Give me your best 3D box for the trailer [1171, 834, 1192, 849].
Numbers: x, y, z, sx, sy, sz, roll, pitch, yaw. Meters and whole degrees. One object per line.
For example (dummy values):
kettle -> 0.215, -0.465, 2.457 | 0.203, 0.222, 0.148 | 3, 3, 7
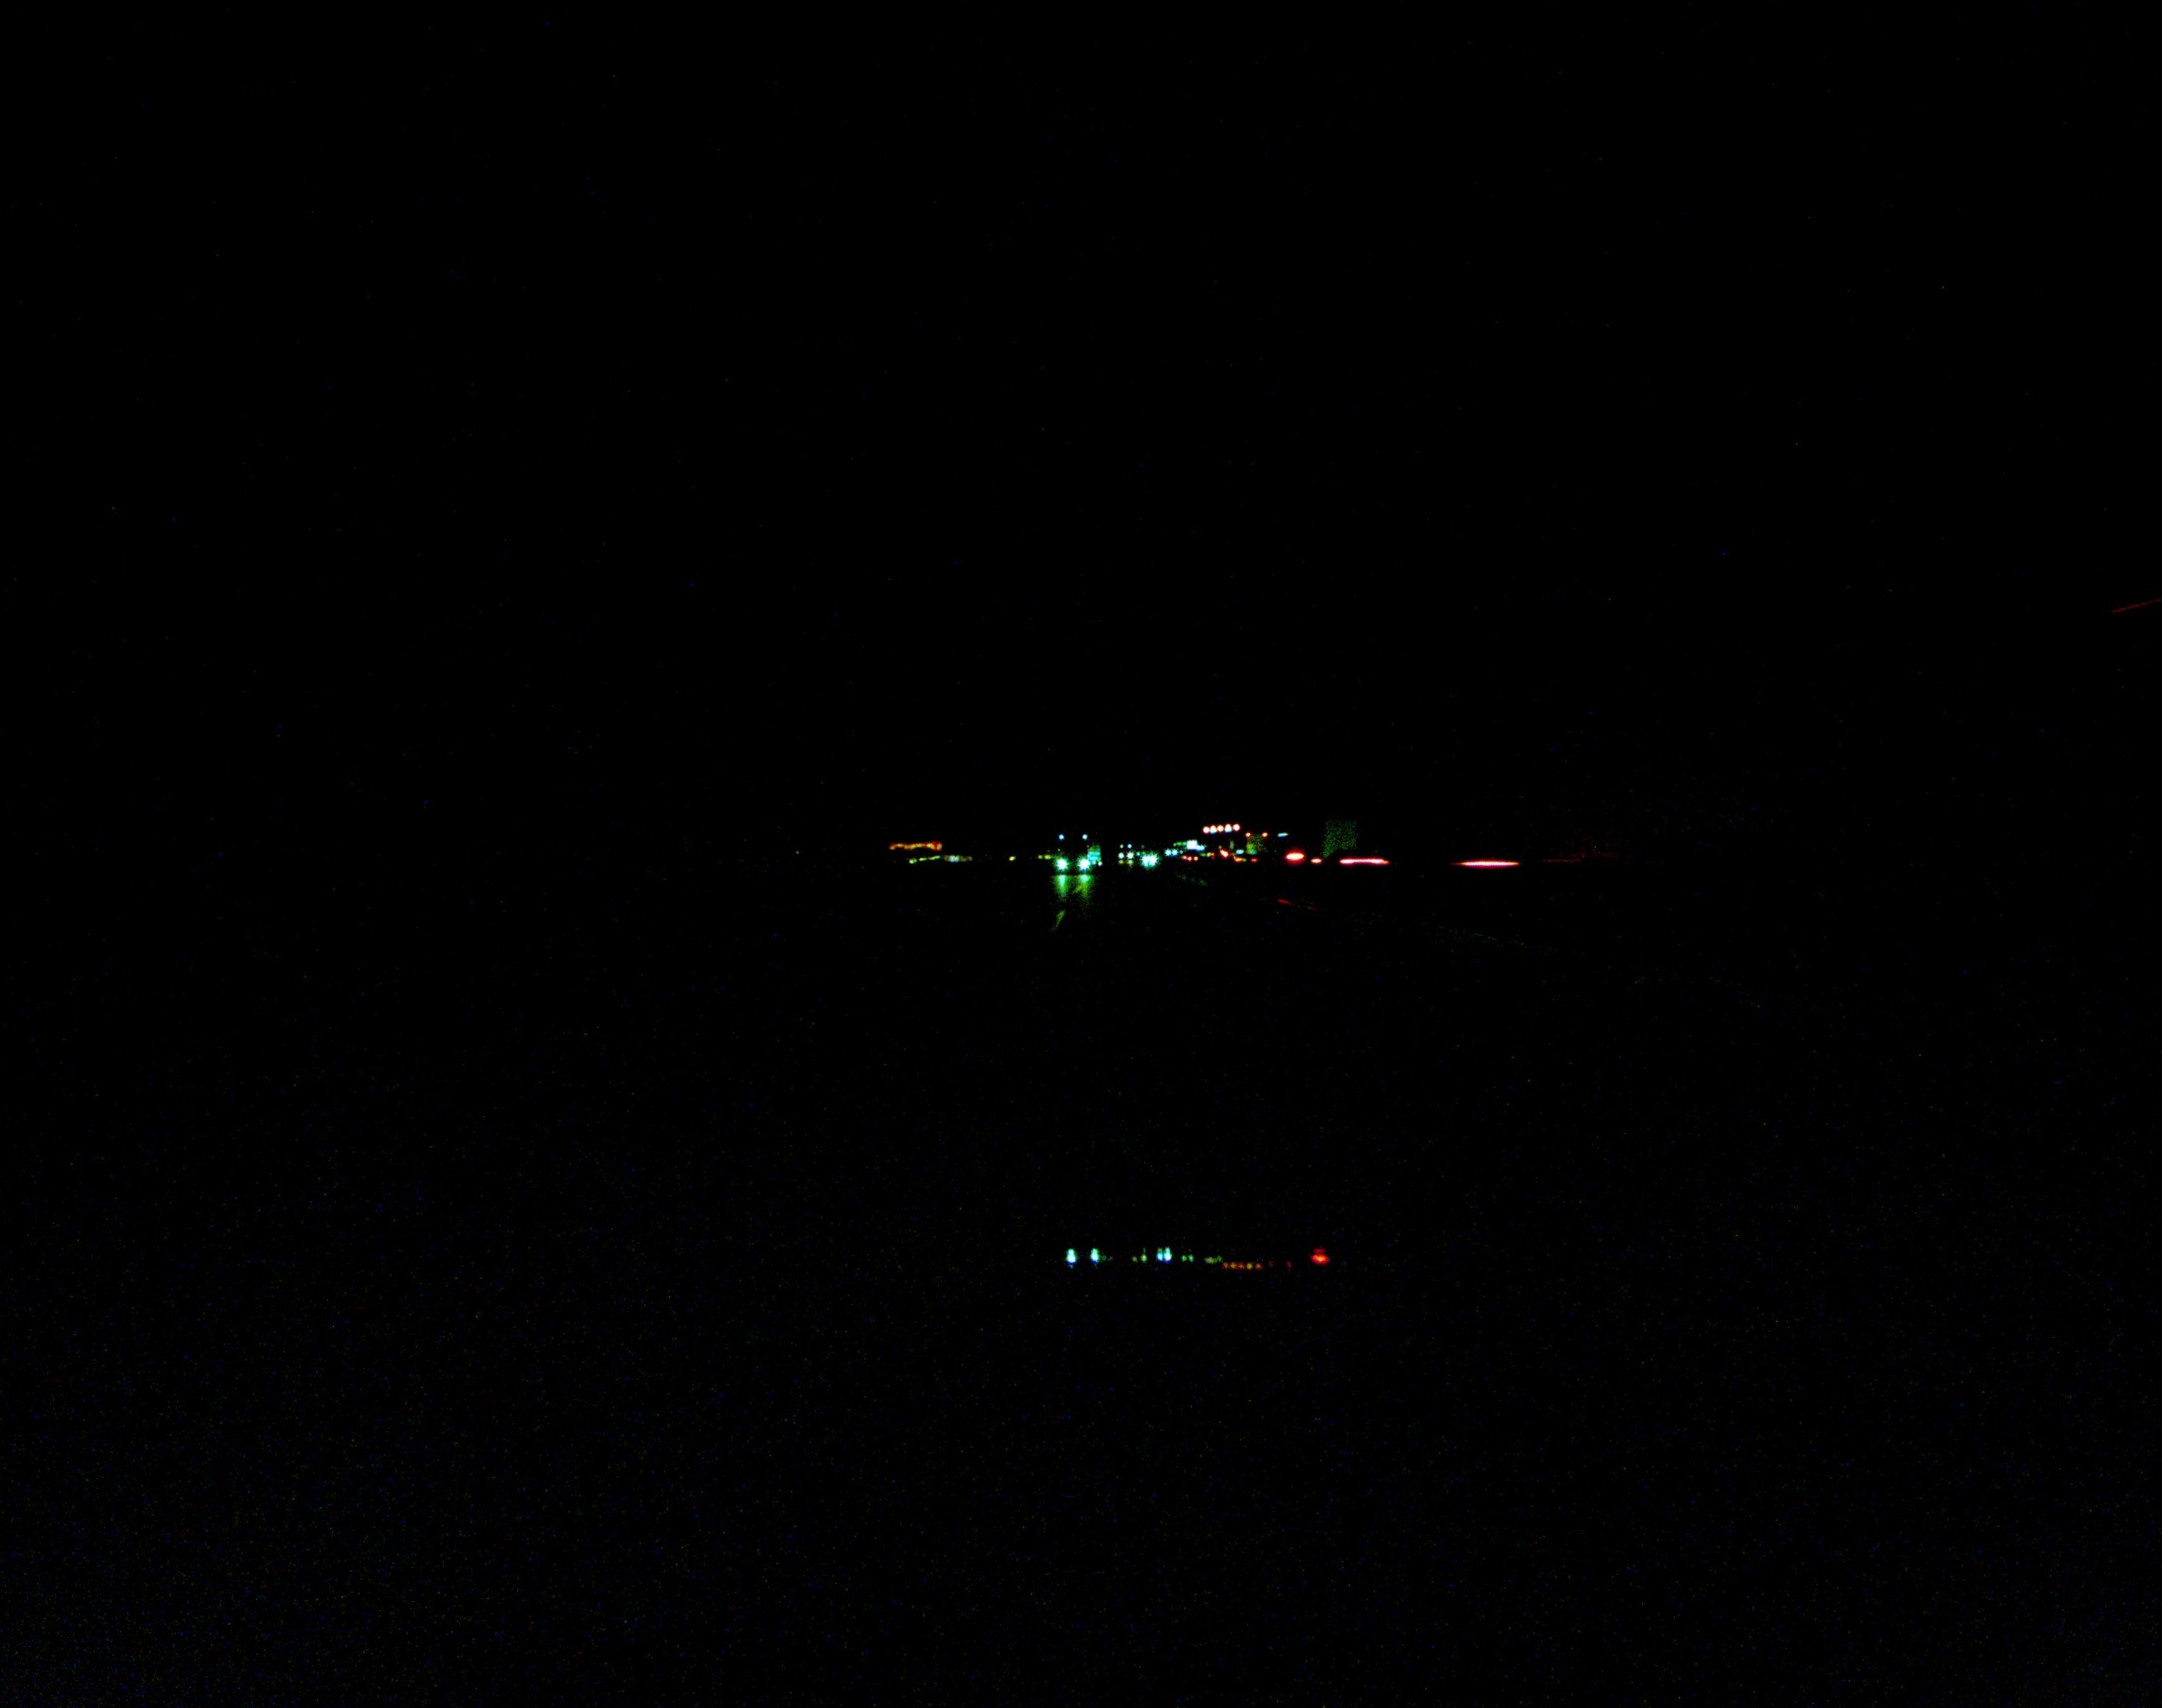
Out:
trailer -> 30.222, -3.834, 228.083 | 2.836, 3.953, 15.780 | -2, 2, 19

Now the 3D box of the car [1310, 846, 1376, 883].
car -> 13.964, 0.519, 40.753 | 1.998, 1.800, 4.748 | -1, 0, 1

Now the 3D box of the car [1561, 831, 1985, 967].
car -> 9.022, 0.489, 10.601 | 1.878, 1.418, 4.513 | -3, 0, 2

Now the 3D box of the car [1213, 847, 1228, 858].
car -> 19.897, -0.265, 108.504 | 1.907, 1.483, 4.871 | -1, 0, 9

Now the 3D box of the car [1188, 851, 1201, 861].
car -> 17.671, 0.321, 118.529 | 1.907, 1.483, 4.869 | -1, 1, 7

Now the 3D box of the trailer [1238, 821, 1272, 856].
trailer -> 23.853, -2.107, 104.867 | 2.845, 4.439, 14.528 | 0, 1, 6

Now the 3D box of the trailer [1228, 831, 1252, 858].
trailer -> 26.084, -1.525, 124.922 | 2.881, 4.159, 14.531 | -1, 0, 8

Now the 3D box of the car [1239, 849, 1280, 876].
car -> 10.632, 0.465, 45.591 | 1.837, 1.544, 4.514 | -1, 0, 6

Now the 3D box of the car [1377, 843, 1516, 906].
car -> 9.892, 0.492, 20.998 | 1.847, 1.418, 4.513 | -4, 0, 4

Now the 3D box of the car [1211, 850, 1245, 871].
car -> 11.011, 0.470, 57.216 | 1.917, 1.435, 4.650 | -1, 0, 3

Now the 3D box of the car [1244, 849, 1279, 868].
car -> 14.882, 0.336, 62.826 | 1.952, 1.435, 4.650 | -1, 0, 3

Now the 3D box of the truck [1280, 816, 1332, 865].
truck -> 18.563, -1.090, 62.936 | 2.834, 3.893, 4.935 | 0, 0, 1

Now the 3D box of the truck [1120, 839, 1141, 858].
truck -> 11.329, -1.290, 172.581 | 2.871, 3.819, 8.059 | -5, 2, 15

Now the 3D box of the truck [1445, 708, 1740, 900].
truck -> 13.184, -1.193, 20.601 | 3.116, 4.074, 7.074 | -5, 1, 1

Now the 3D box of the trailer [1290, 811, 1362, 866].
trailer -> 18.475, -1.088, 58.002 | 2.827, 3.894, 8.739 | 0, 0, 1

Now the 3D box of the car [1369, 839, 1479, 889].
car -> 13.698, 0.352, 30.738 | 1.998, 1.800, 5.486 | -1, 0, 0

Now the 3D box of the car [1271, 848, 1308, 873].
car -> 13.897, 0.421, 50.908 | 1.219, 1.586, 4.512 | 0, 0, 0

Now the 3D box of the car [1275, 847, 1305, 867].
car -> 19.663, 0.277, 71.726 | 1.998, 1.800, 4.321 | -1, 0, 6

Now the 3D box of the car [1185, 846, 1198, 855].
car -> 19.316, -0.635, 132.348 | 1.907, 1.483, 4.871 | -1, 1, 12

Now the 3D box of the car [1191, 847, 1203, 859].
car -> 16.356, -0.141, 106.889 | 1.629, 1.483, 4.870 | -2, 1, 8

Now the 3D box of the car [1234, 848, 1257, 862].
car -> 15.529, 0.083, 72.009 | 1.632, 1.342, 4.001 | -1, 0, 5

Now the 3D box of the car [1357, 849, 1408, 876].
car -> 17.609, 0.476, 44.566 | 1.544, 1.481, 4.514 | -1, 0, 5

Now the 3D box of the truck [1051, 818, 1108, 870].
truck -> 0.213, -1.101, 71.556 | 3.490, 4.112, 18.709 | -3, 2, 5

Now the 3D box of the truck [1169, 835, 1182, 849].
truck -> 27.462, -3.468, 220.333 | 2.896, 3.950, 4.004 | -2, 2, 20

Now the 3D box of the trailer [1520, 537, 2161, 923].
trailer -> 13.062, -1.543, 13.581 | 3.098, 4.065, 12.446 | -5, 1, 1

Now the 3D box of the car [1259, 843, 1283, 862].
car -> 20.858, -0.156, 83.488 | 1.907, 1.876, 5.022 | -2, 2, 8

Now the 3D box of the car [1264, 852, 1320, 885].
car -> 9.900, 0.636, 35.921 | 1.706, 1.418, 4.514 | -1, 0, 5

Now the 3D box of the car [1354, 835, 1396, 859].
car -> 22.855, -0.574, 59.234 | 1.724, 1.710, 3.837 | -5, 1, 1

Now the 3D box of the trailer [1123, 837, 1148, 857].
trailer -> 12.764, -1.623, 177.550 | 2.878, 3.910, 12.895 | -3, 2, 16

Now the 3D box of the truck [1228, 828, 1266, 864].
truck -> 23.183, -1.131, 106.521 | 2.624, 4.240, 5.959 | -33, -2, 5

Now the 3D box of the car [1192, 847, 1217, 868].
car -> 11.920, 0.351, 73.536 | 1.880, 1.911, 5.606 | -1, 0, 5
